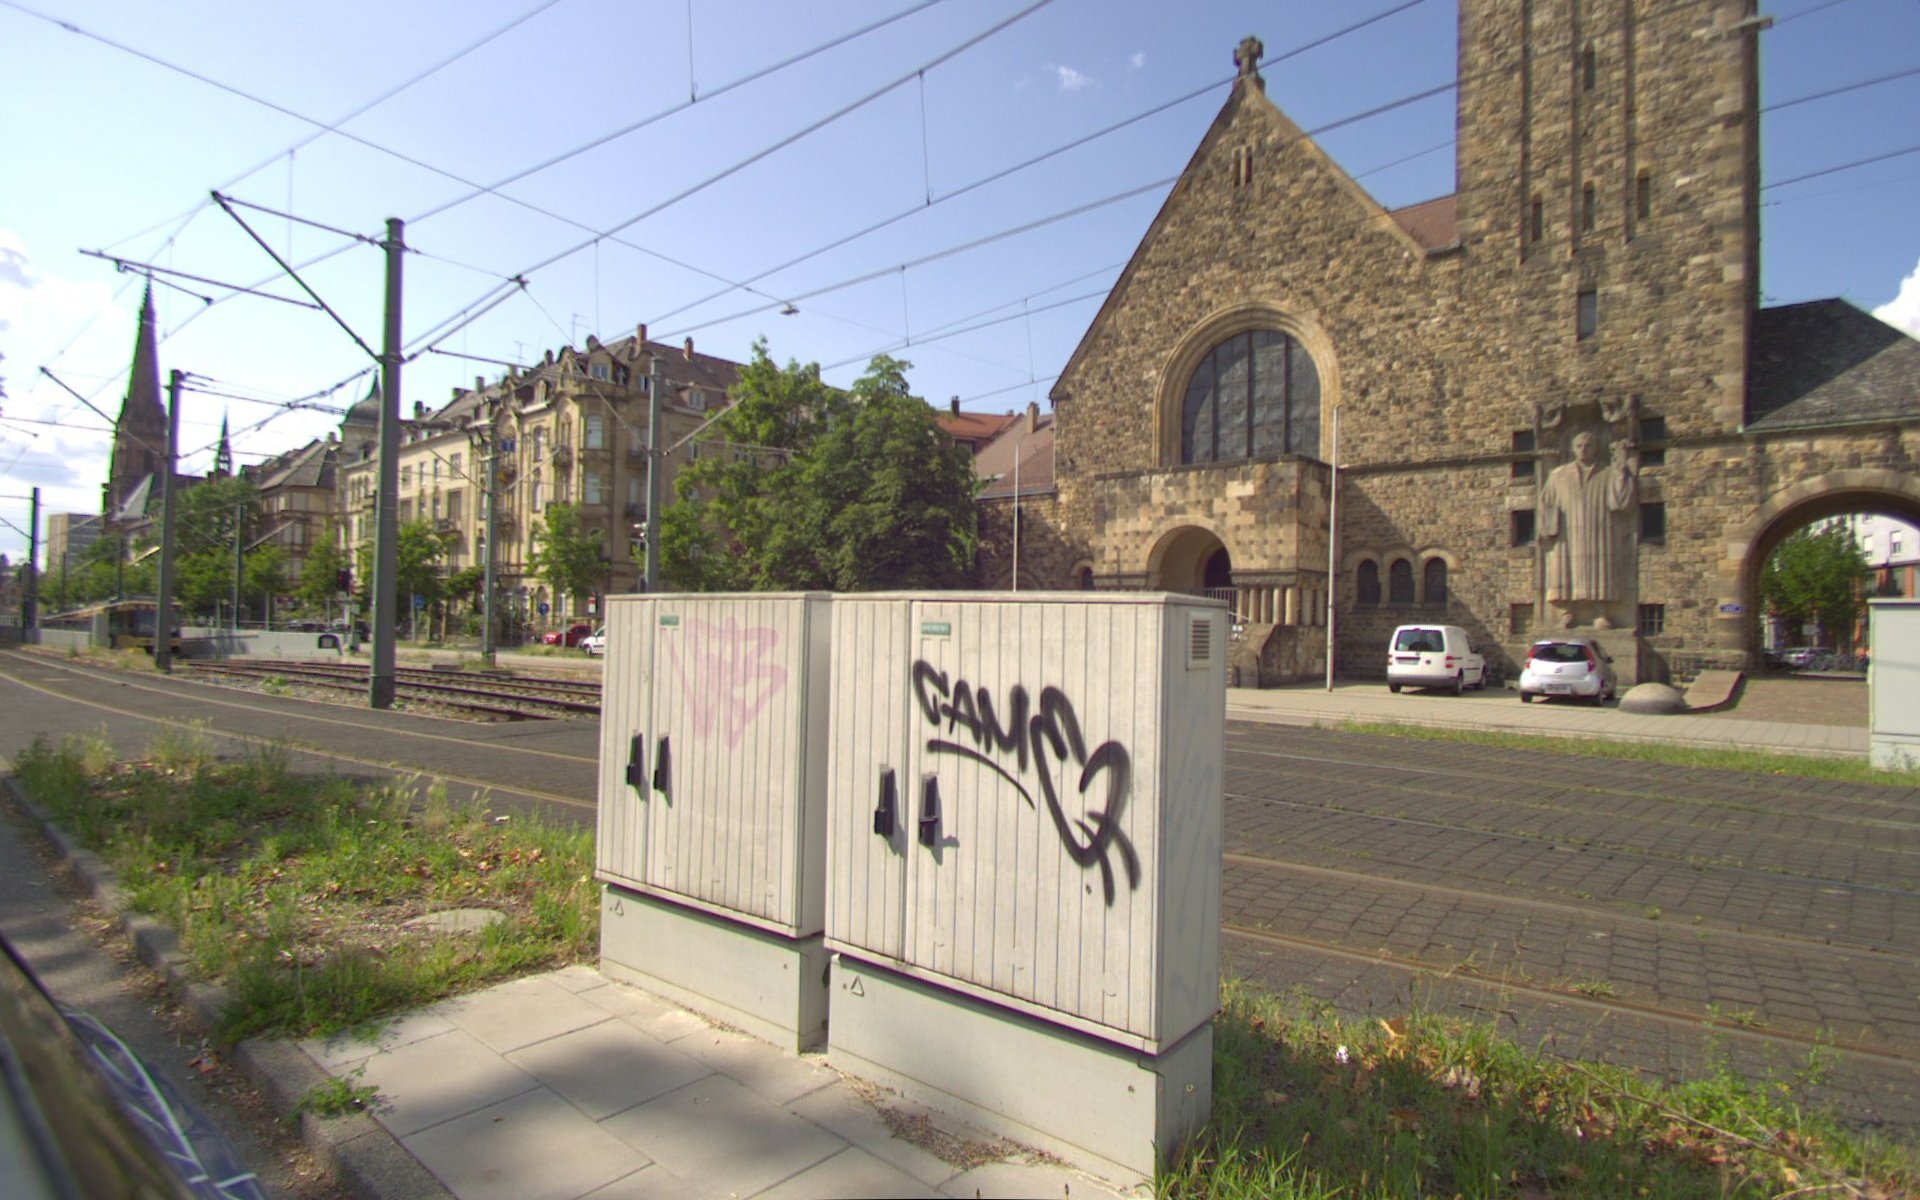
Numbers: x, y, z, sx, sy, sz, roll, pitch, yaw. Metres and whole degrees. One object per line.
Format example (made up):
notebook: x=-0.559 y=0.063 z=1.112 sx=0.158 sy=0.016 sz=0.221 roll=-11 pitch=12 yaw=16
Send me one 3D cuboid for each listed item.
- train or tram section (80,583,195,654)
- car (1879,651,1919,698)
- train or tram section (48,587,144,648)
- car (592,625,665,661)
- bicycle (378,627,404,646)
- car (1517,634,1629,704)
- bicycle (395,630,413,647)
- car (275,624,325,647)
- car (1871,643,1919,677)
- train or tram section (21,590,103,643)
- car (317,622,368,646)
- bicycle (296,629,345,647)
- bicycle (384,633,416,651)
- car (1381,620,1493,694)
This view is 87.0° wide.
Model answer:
train or tram section: x=-46.457 y=1.066 z=56.968 sx=12.829 sy=3.607 sz=2.823 roll=-1 pitch=-3 yaw=41
car: x=35.591 y=2.690 z=35.886 sx=1.998 sy=1.665 sz=3.983 roll=2 pitch=-2 yaw=-16
train or tram section: x=-56.090 y=1.155 z=65.503 sx=12.829 sy=3.607 sz=2.823 roll=-1 pitch=-3 yaw=41
car: x=-14.493 y=1.859 z=44.144 sx=1.647 sy=1.427 sz=3.851 roll=5 pitch=-4 yaw=-39
bicycle: x=-40.250 y=2.585 z=71.575 sx=2.942 sy=1.258 sz=0.650 roll=-1 pitch=0 yaw=42
car: x=15.166 y=1.649 z=24.953 sx=1.797 sy=1.559 sz=3.728 roll=0 pitch=-2 yaw=40
bicycle: x=-38.207 y=2.624 z=69.574 sx=2.023 sy=1.148 sz=0.423 roll=-1 pitch=0 yaw=42
car: x=-48.935 y=2.611 z=75.011 sx=4.484 sy=1.538 sz=1.781 roll=-1 pitch=-1 yaw=39
car: x=47.481 y=2.981 z=50.193 sx=1.779 sy=1.609 sz=4.051 roll=0 pitch=-2 yaw=16
train or tram section: x=-65.754 y=1.226 z=73.971 sx=12.829 sy=3.607 sz=2.823 roll=-1 pitch=-3 yaw=41
car: x=-41.615 y=2.260 z=68.175 sx=4.708 sy=1.514 sz=1.667 roll=-1 pitch=-3 yaw=43
bicycle: x=-46.072 y=2.735 z=72.932 sx=0.790 sy=1.256 sz=2.926 roll=0 pitch=-2 yaw=29
bicycle: x=-34.536 y=2.577 z=62.457 sx=0.470 sy=1.077 sz=1.690 roll=-1 pitch=-3 yaw=36
car: x=13.079 y=1.531 z=27.623 sx=1.862 sy=1.838 sz=3.962 roll=0 pitch=-2 yaw=39
